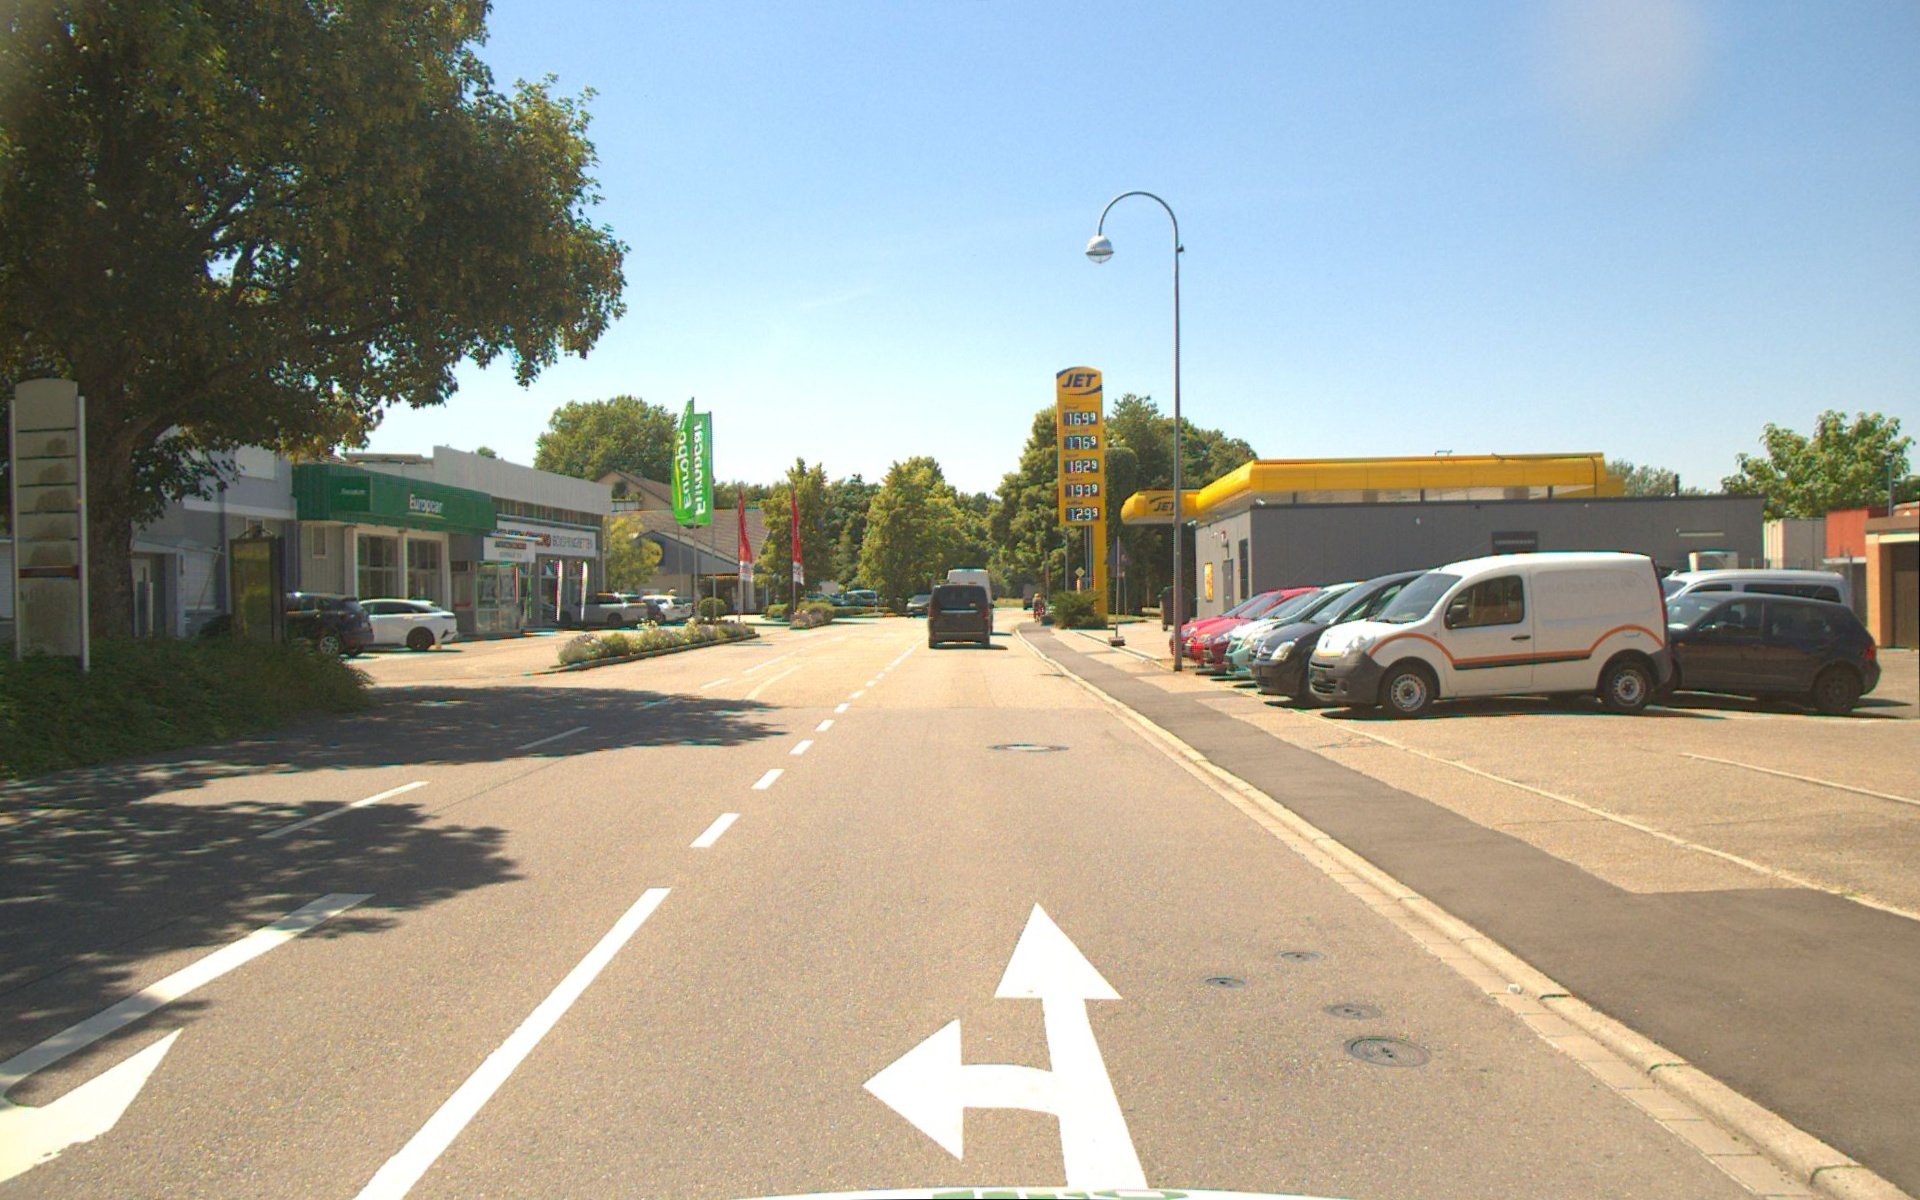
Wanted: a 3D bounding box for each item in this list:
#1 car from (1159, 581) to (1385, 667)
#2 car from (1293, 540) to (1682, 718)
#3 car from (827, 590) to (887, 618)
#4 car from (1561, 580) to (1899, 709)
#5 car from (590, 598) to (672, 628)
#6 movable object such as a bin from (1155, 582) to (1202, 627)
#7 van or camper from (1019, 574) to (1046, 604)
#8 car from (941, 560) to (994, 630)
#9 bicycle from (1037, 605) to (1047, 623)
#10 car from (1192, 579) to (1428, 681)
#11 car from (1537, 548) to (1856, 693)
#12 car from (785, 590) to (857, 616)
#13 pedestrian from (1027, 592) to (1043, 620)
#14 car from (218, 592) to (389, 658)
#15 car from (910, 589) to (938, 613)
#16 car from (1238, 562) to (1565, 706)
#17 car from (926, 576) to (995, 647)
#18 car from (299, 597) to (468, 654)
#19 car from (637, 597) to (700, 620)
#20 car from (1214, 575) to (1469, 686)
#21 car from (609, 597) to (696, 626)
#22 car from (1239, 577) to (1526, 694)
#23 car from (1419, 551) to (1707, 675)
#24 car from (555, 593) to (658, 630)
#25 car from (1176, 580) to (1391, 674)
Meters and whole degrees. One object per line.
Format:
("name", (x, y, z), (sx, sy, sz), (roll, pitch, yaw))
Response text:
("car", (6.211, 0.461, 33.276), (4.138, 1.561, 1.958), (-2, 0, -1))
("car", (6.231, 0.314, 19.791), (4.054, 1.972, 1.806), (-1, 0, -6))
("car", (-7.662, 0.292, 123.489), (4.266, 2.015, 1.905), (0, -1, 2))
("car", (10.103, 0.558, 21.886), (3.535, 1.493, 1.947), (2, 0, -5))
("car", (-16.788, 0.643, 84.428), (3.550, 1.500, 2.001), (0, 0, 19))
("movable object such as a bin", (7.471, 0.156, 56.595), (1.405, 1.463, 1.468), (-2, 0, 1))
("van or camper", (7.253, -1.089, 165.738), (2.577, 2.980, 5.207), (1, 0, 1))
("car", (0.312, -0.193, 67.877), (2.035, 2.750, 4.666), (1, 0, 0))
("bicycle", (4.220, 0.738, 85.574), (0.370, 0.928, 1.599), (0, 0, 8))
("car", (5.981, 0.485, 28.499), (3.612, 1.594, 1.748), (-2, 0, -4))
("car", (10.573, 0.281, 23.931), (3.813, 1.870, 1.689), (2, 0, 1))
("car", (-9.508, 0.199, 113.307), (4.607, 1.793, 2.100), (0, -1, 9))
("pedestrian", (3.897, 0.315, 85.675), (0.752, 1.446, 0.868), (0, 0, 8))
("car", (-16.401, 0.614, 41.453), (3.487, 1.592, 1.969), (-1, 0, 0))
("car", (-2.456, 0.063, 114.116), (1.726, 1.553, 4.138), (-2, 0, 1))
("car", (5.763, 0.415, 21.881), (3.798, 1.710, 1.762), (-2, 0, -3))
("car", (0.062, 0.327, 49.994), (1.952, 1.987, 5.005), (1, 0, 1))
("car", (-15.797, 0.684, 45.324), (4.280, 1.464, 1.927), (-1, 0, -22))
("car", (-21.112, 0.601, 119.815), (4.223, 1.556, 1.828), (-1, 0, 0))
("car", (5.997, 0.455, 26.231), (3.610, 1.594, 1.641), (-2, 0, -2))
("car", (-16.202, 0.584, 87.218), (4.095, 1.472, 1.981), (0, 0, 17))
("car", (6.089, 0.488, 24.146), (3.714, 1.536, 1.833), (-2, 0, 0))
("car", (10.461, 0.219, 28.885), (4.253, 1.929, 1.971), (2, 0, -3))
("car", (-16.969, 0.542, 79.441), (4.436, 1.693, 2.001), (0, 0, 19))
("car", (5.978, 0.477, 30.806), (3.611, 1.594, 1.707), (-2, 0, -4))
